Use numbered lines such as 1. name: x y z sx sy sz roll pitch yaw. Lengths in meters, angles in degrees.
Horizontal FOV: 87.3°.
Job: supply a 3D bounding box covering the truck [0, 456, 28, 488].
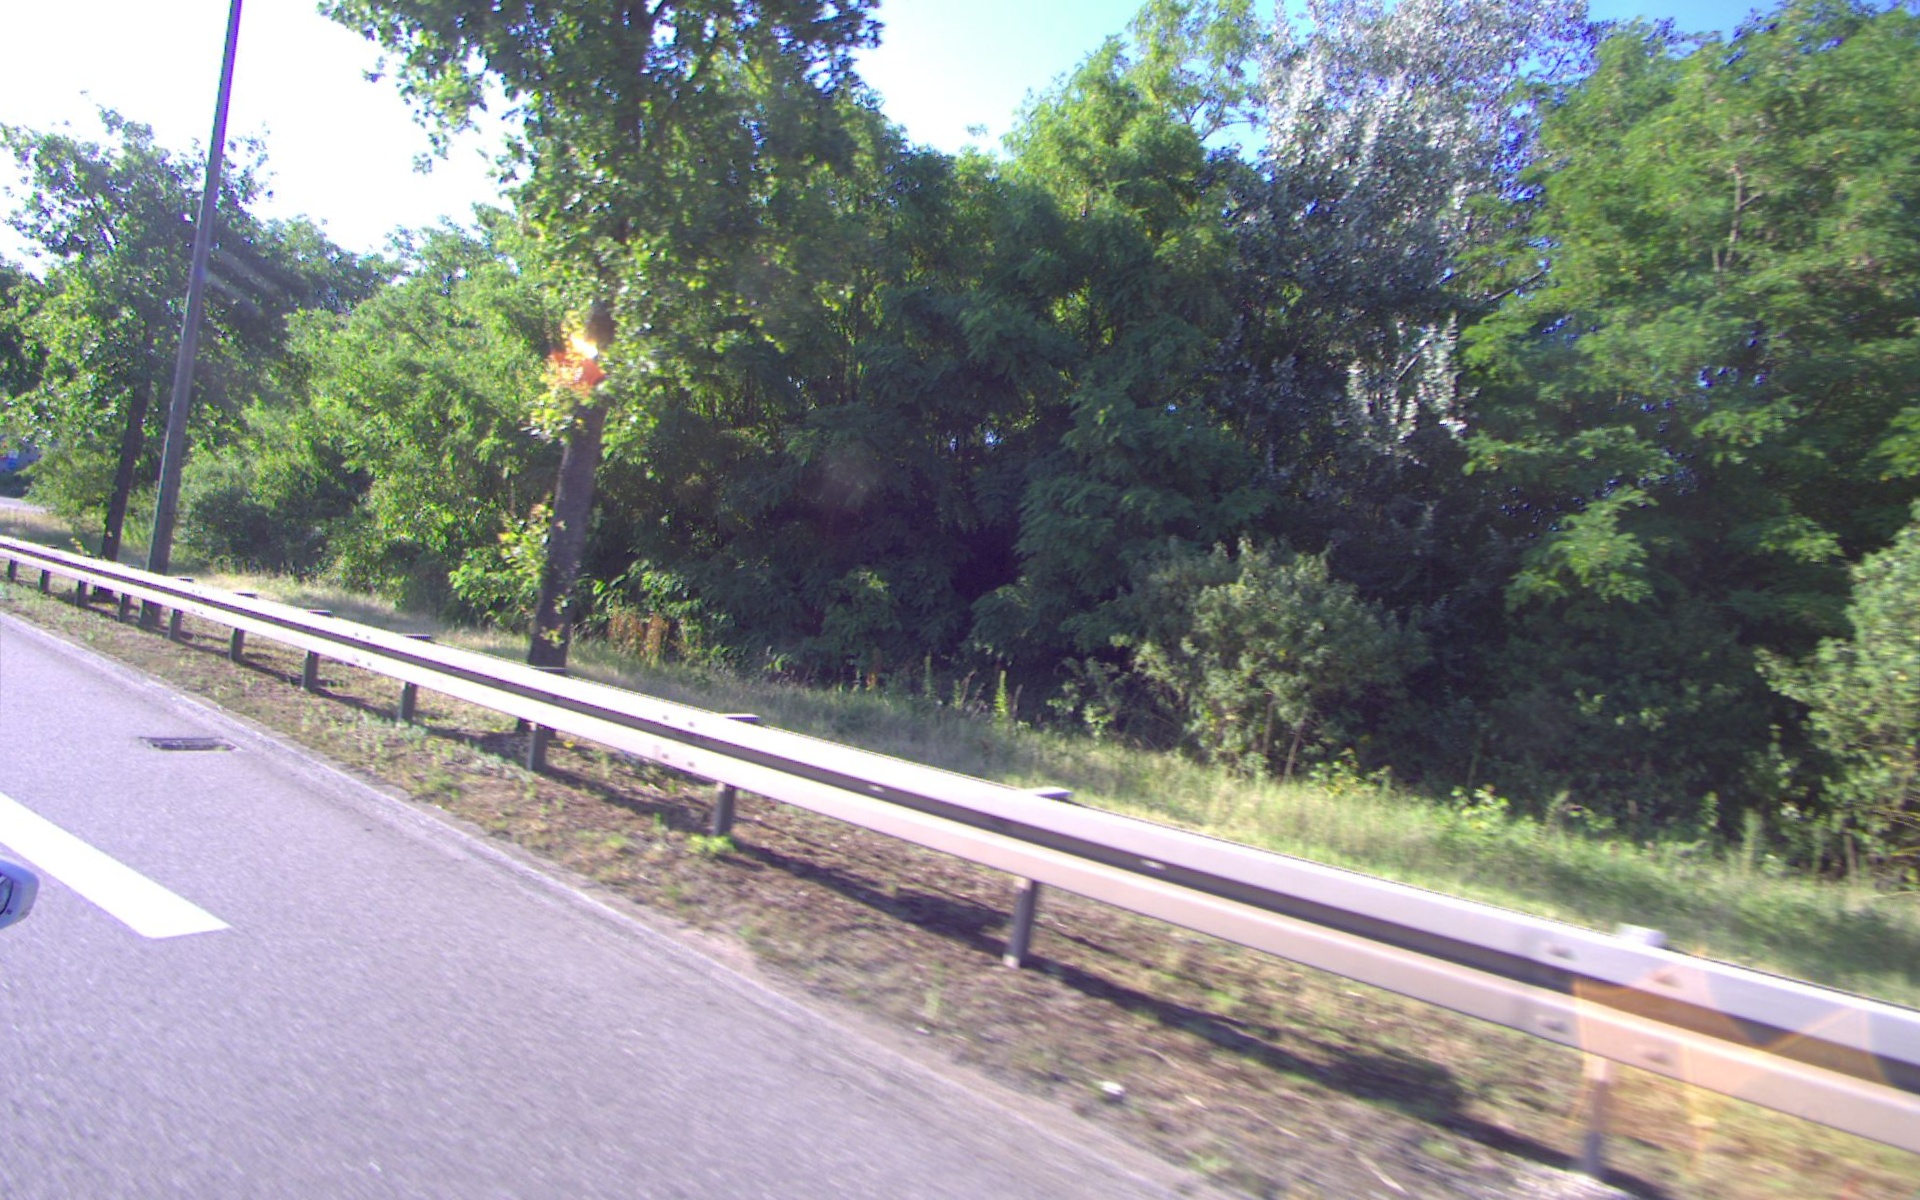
1. truck: -87.782 -11.823 92.183 2.095 2.549 4.371 9 -1 -27
